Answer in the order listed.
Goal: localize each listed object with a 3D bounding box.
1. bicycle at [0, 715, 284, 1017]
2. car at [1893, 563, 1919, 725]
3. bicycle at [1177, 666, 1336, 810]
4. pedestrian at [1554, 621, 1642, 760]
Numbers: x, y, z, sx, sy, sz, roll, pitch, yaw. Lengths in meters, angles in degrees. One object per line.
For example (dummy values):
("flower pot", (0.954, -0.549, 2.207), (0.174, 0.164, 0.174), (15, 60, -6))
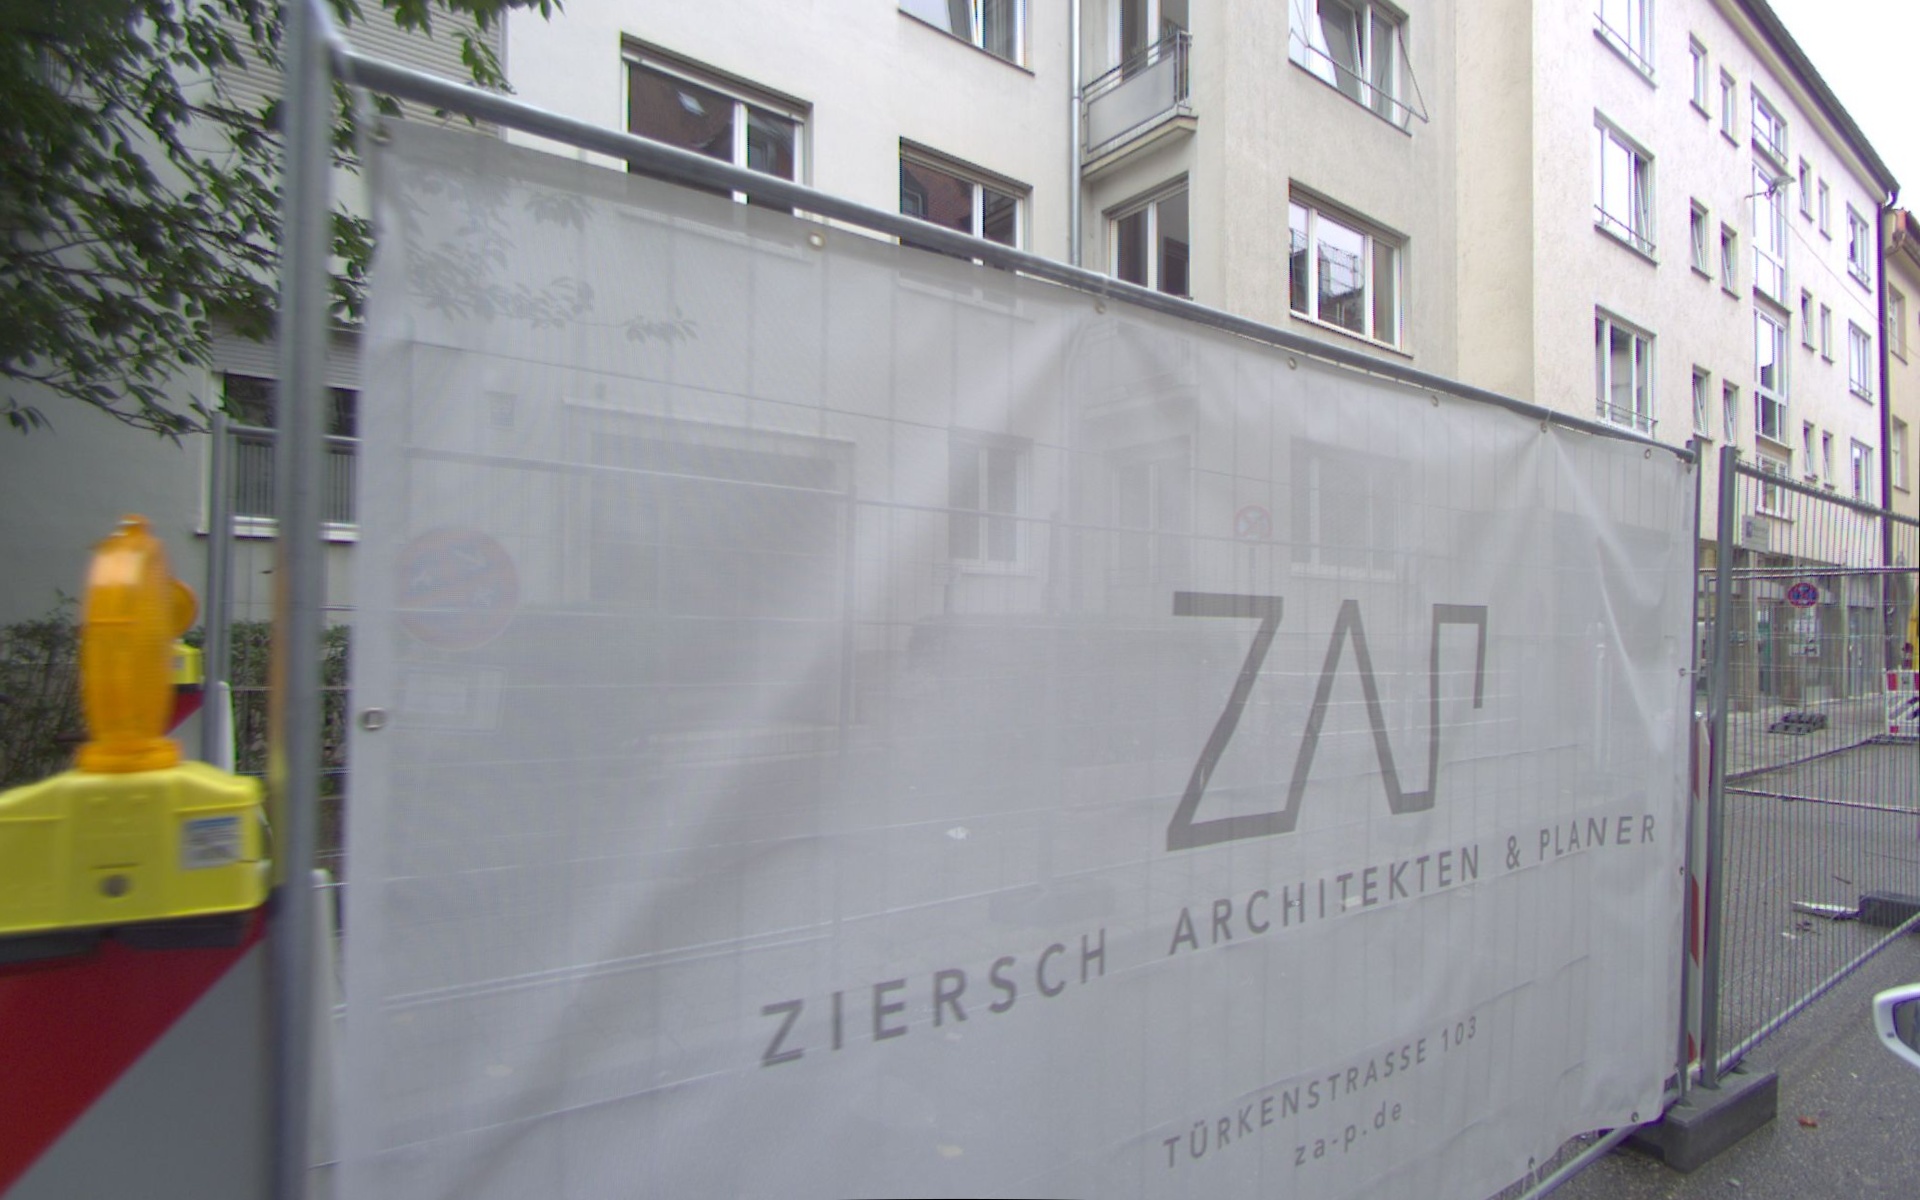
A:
("bicycle", (-3.578, 0.968, 3.669), (1.799, 0.991, 0.440), (3, 0, -37))
("car", (18.523, 0.761, 17.746), (6.678, 2.612, 1.978), (2, -3, -39))
("bicycle", (2.561, 1.137, 8.596), (1.583, 1.077, 0.374), (1, 4, -37))
("pedestrian", (7.479, 1.033, 11.776), (0.740, 1.552, 0.634), (1, -1, -35))
